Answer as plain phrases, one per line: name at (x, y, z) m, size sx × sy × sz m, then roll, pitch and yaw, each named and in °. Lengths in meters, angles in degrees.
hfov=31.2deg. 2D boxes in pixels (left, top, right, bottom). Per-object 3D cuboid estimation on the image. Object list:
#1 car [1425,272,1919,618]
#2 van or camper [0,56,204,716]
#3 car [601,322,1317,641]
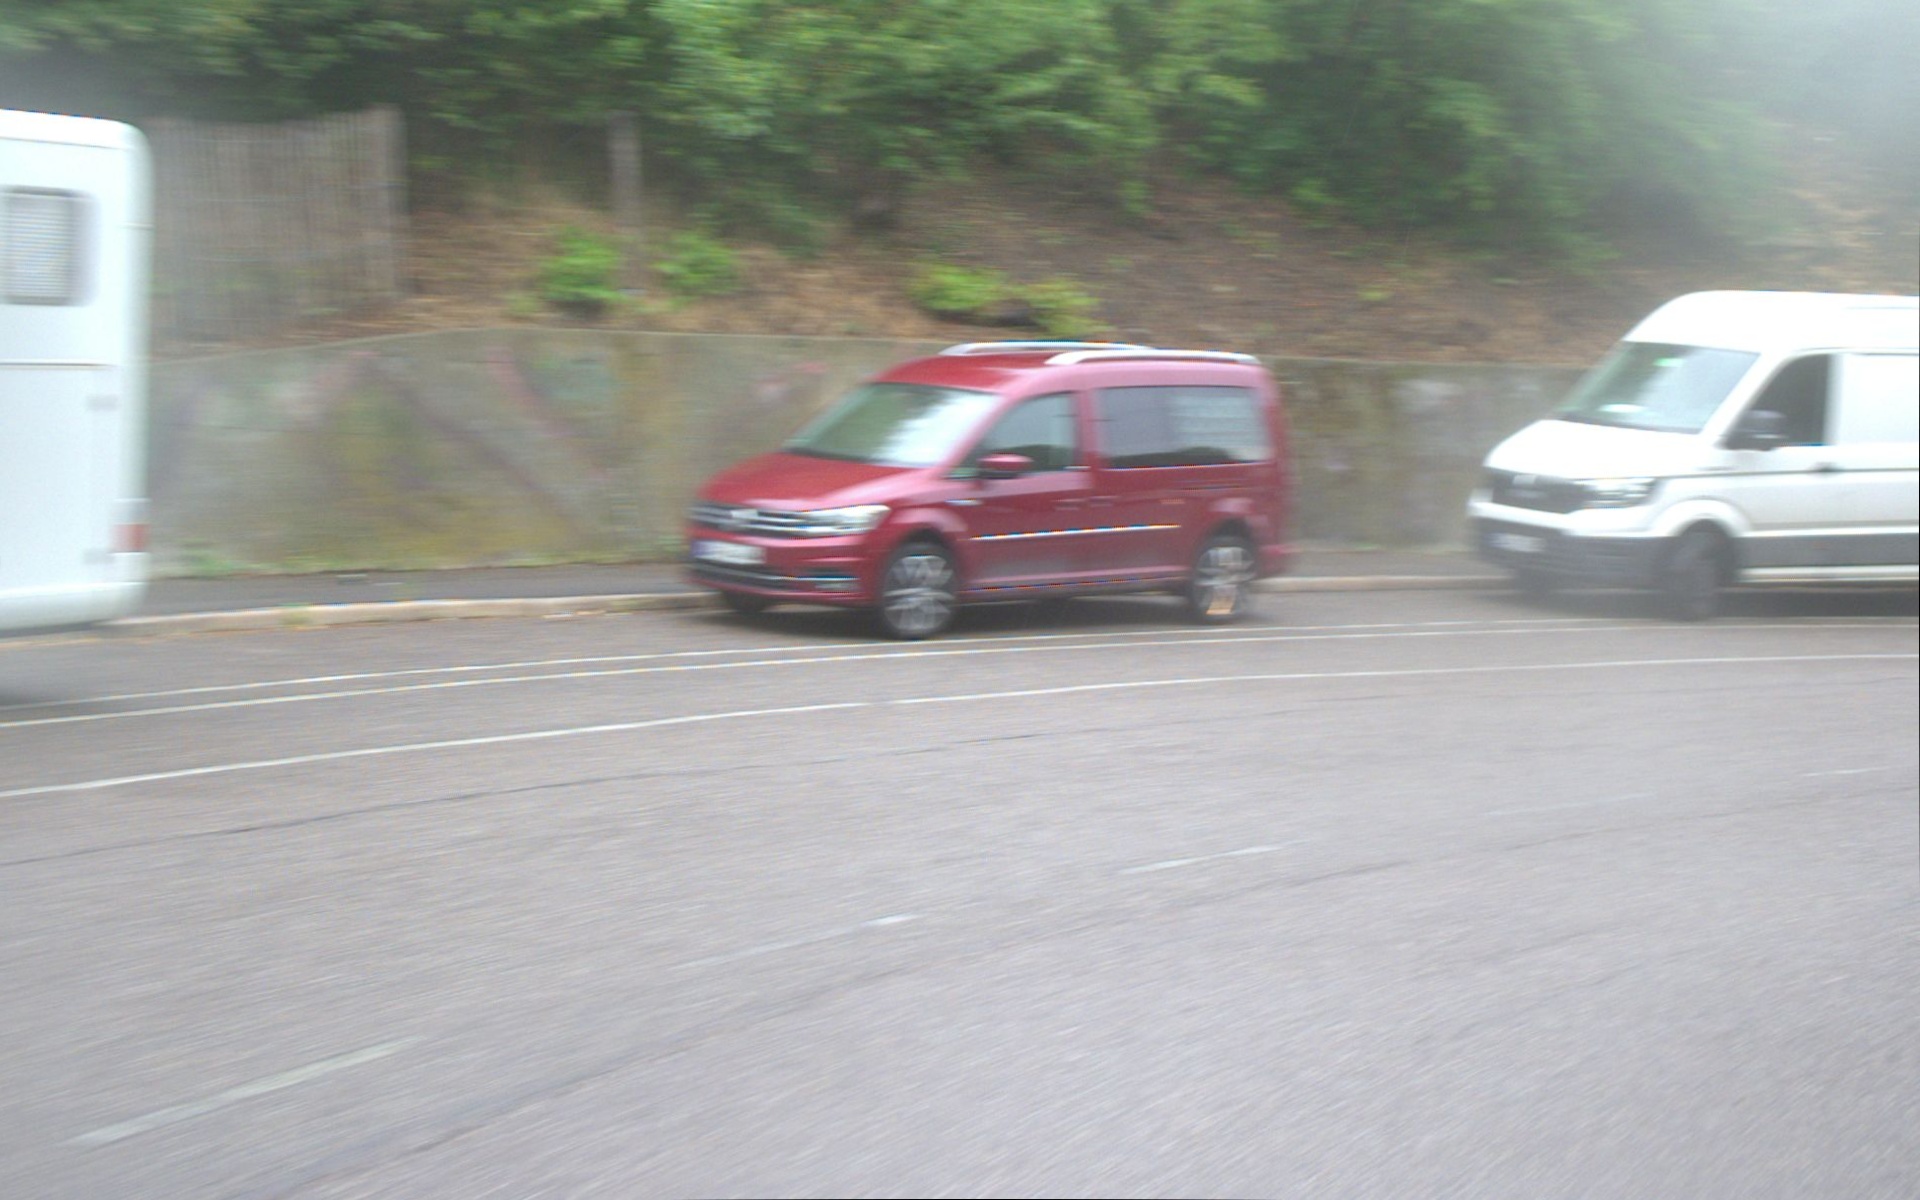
car at (7.213, -1.252, 28.049) m, size 6.800 × 2.521 × 2.042 m, roll 0°, pitch 6°, yaw -30°
van or camper at (-6.531, -0.948, 13.841) m, size 2.455 × 2.956 × 7.515 m, roll 5°, pitch 4°, yaw 28°
car at (0.091, -0.843, 23.422) m, size 1.999 × 1.869 × 4.809 m, roll 8°, pitch 7°, yaw 44°
